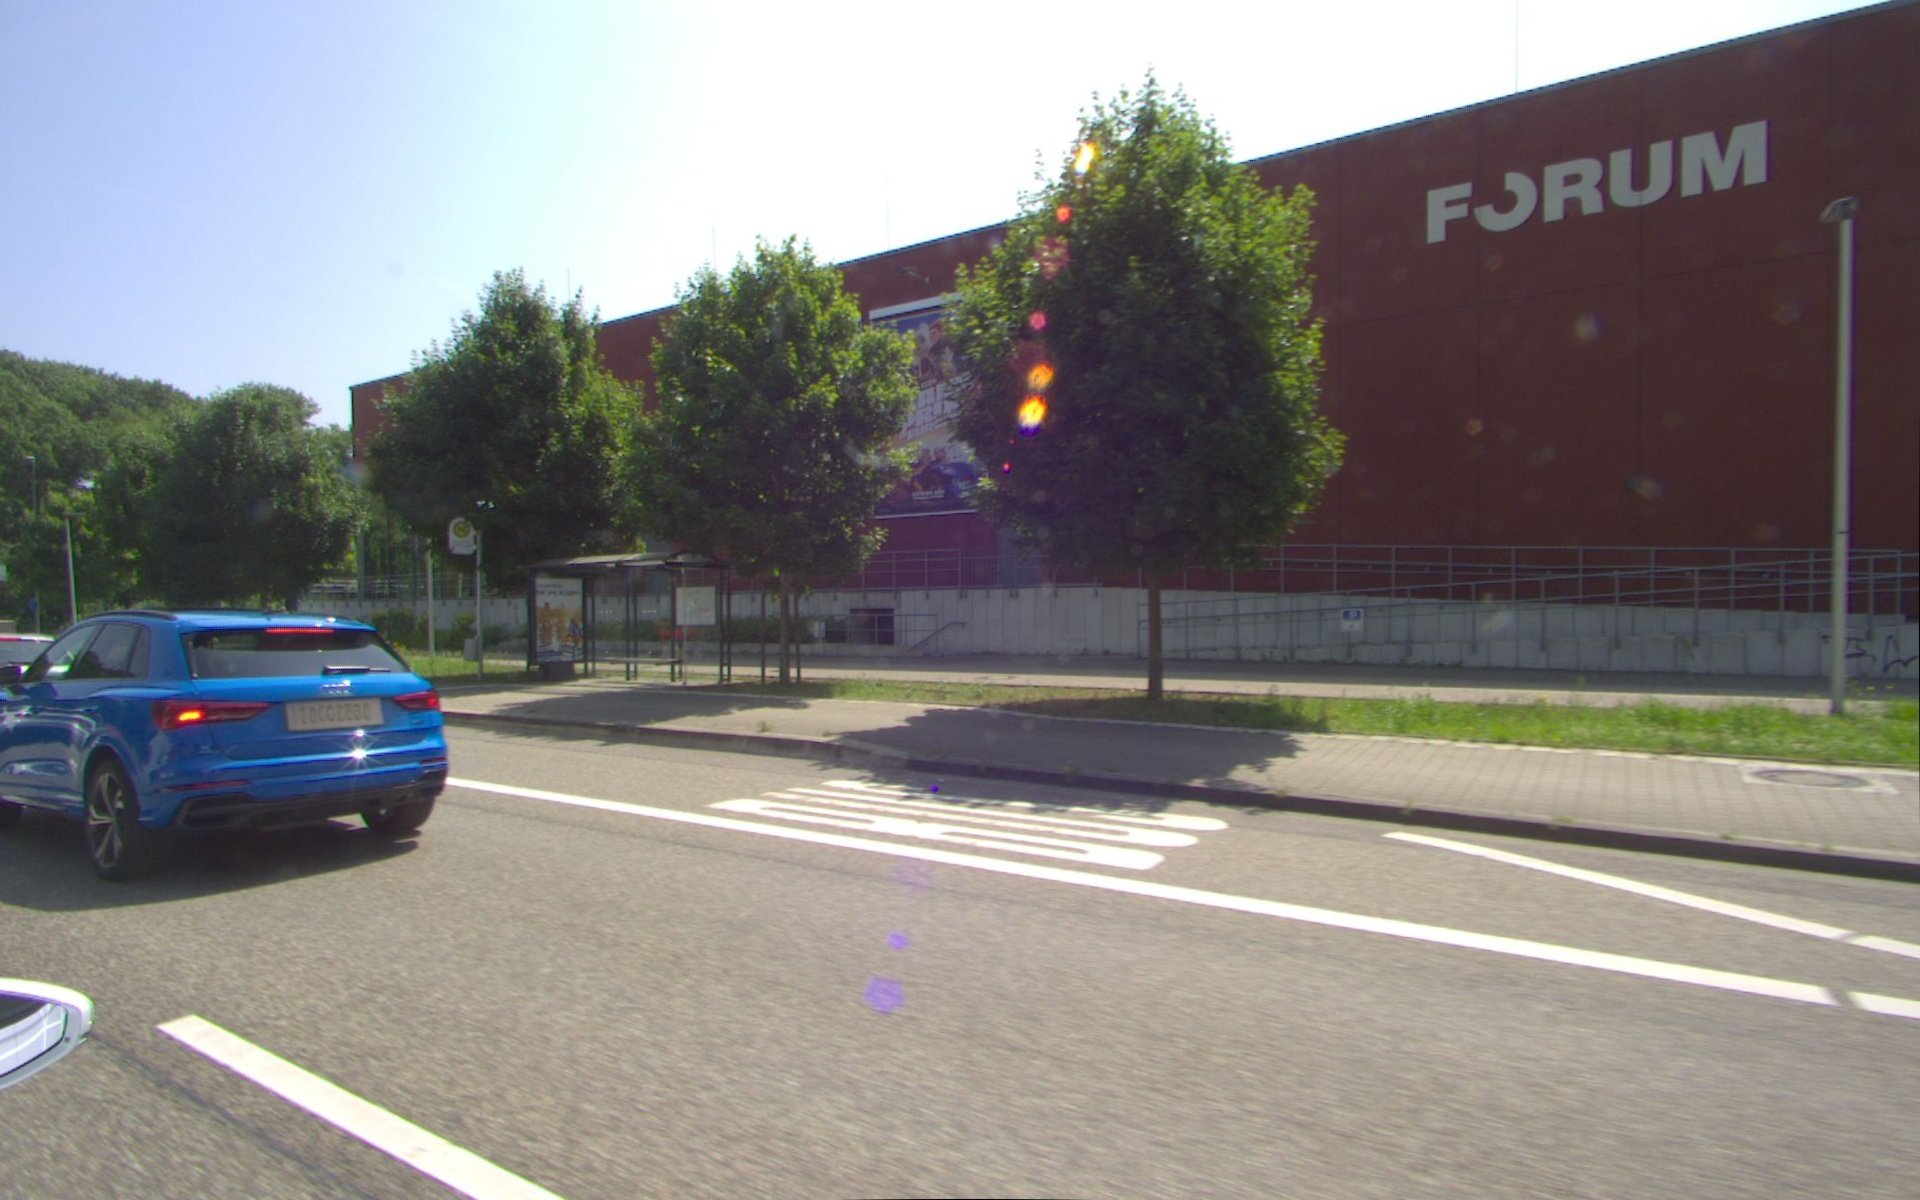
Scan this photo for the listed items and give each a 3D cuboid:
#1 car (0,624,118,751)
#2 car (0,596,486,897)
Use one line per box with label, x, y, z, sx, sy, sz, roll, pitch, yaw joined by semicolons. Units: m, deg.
car;-12.042;0.971;12.080;4.032;1.379;1.709;-1;-2;32
car;-5.589;0.813;7.322;4.337;1.617;1.834;0;-1;33
